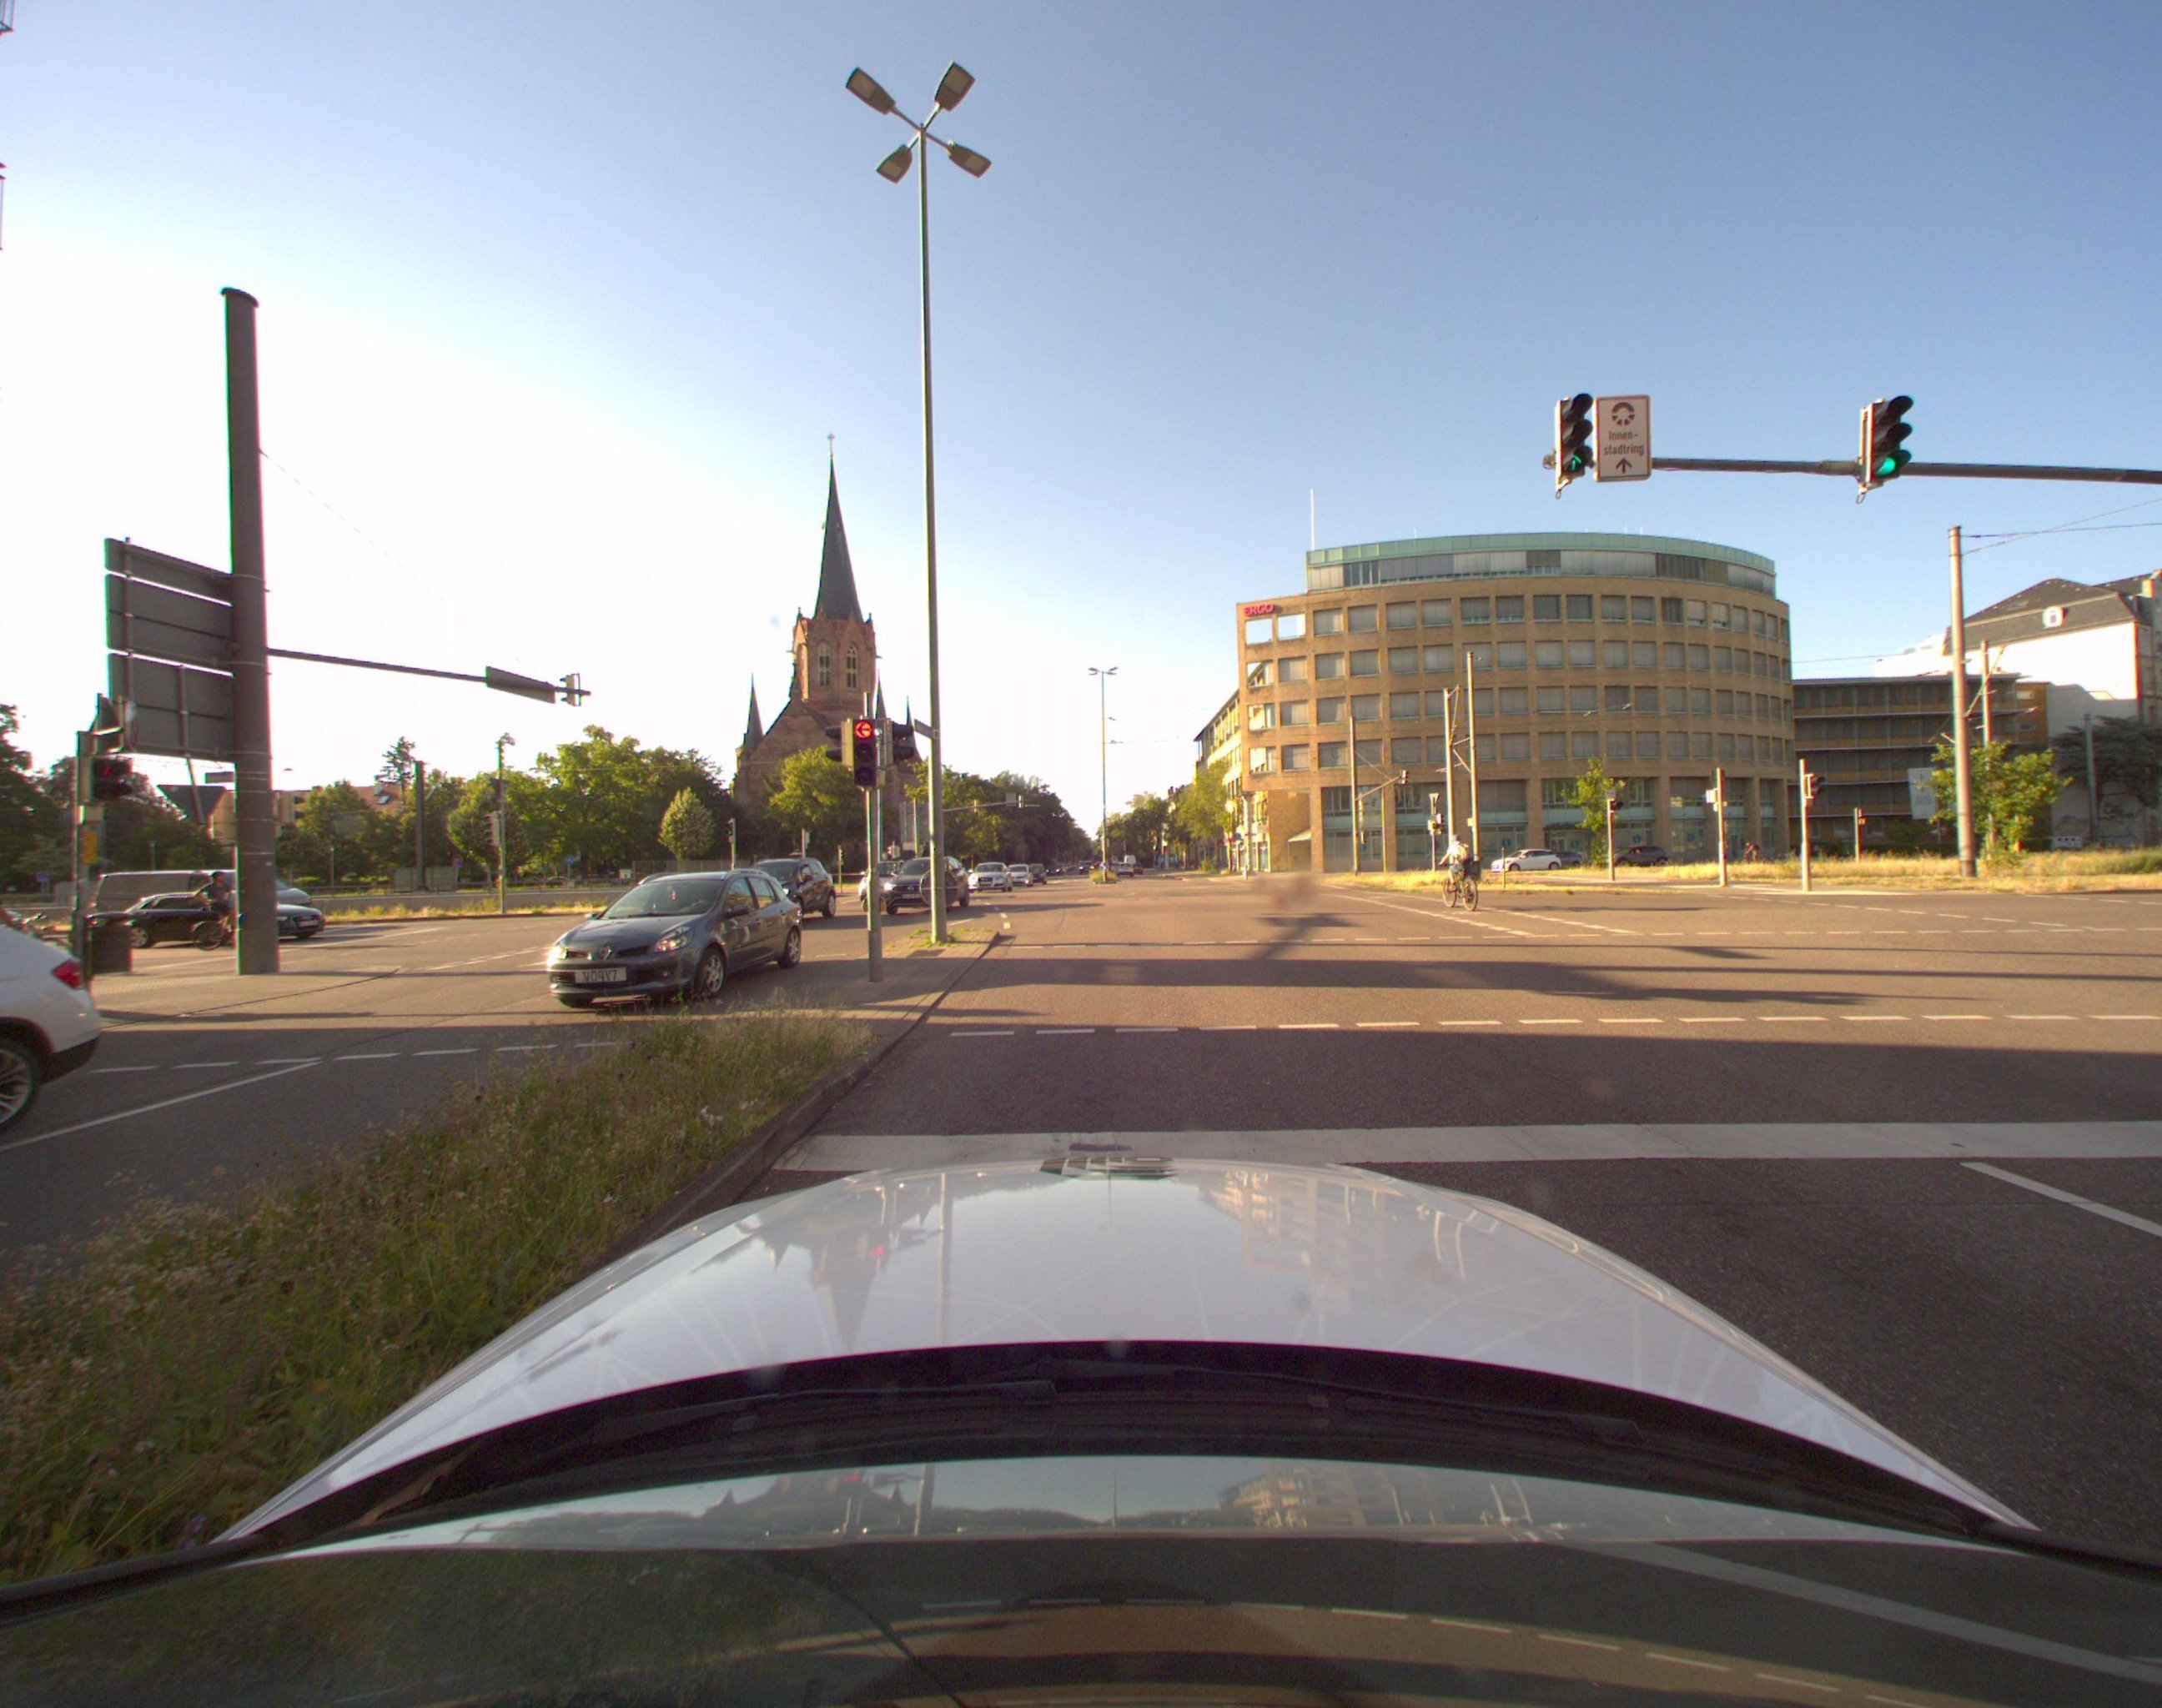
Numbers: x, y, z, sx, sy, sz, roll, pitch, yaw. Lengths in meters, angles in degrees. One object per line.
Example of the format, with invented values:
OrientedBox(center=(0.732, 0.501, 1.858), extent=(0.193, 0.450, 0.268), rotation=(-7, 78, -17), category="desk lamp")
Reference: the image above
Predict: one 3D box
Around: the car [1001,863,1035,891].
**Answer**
OrientedBox(center=(-3.917, 1.403, 51.452), extent=(1.669, 1.544, 3.807), rotation=(-3, 0, 1), category="car")

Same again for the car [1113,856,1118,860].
OrientedBox(center=(10.957, 1.172, 256.097), extent=(1.589, 1.267, 3.268), rotation=(-2, 0, 2), category="car")

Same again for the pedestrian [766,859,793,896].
OrientedBox(center=(-14.367, 1.110, 38.867), extent=(0.962, 1.739, 0.812), rotation=(-1, -1, -1), category="pedestrian")

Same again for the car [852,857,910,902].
OrientedBox(center=(-7.730, 0.945, 31.667), extent=(1.531, 1.593, 2.807), rotation=(-3, 0, -1), category="car")

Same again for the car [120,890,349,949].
OrientedBox(center=(-22.678, 1.738, 21.943), extent=(4.175, 1.313, 1.800), rotation=(-2, -1, -1), category="car")

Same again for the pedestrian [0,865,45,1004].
OrientedBox(center=(-14.304, 1.049, 10.573), extent=(0.605, 1.787, 0.813), rotation=(1, 0, 5), category="pedestrian")

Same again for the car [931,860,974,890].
OrientedBox(center=(-7.203, 1.153, 45.972), extent=(1.669, 1.544, 3.639), rotation=(-3, 0, 1), category="car")

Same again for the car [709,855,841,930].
OrientedBox(center=(-7.663, 0.880, 20.822), extent=(1.714, 1.628, 4.102), rotation=(-3, 0, 0), category="car")

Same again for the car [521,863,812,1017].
OrientedBox(center=(-4.958, 0.909, 10.445), extent=(1.586, 1.471, 3.985), rotation=(-3, 0, 1), category="car")

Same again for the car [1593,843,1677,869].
OrientedBox(center=(35.140, 0.118, 51.732), extent=(4.038, 1.492, 1.820), rotation=(-2, -1, 0), category="car")

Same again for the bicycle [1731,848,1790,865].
OrientedBox(center=(45.300, 0.162, 54.321), extent=(2.951, 1.000, 1.154), rotation=(-2, -1, -1), category="bicycle")

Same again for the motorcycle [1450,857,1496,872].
OrientedBox(center=(27.324, 0.741, 56.775), extent=(2.709, 0.964, 1.032), rotation=(-2, -1, 0), category="motorcycle")

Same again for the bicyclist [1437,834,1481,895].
OrientedBox(center=(8.625, 0.233, 18.621), extent=(0.590, 1.369, 0.930), rotation=(0, 0, 2), category="bicyclist")

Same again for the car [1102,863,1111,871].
OrientedBox(center=(4.849, 2.417, 152.589), extent=(1.589, 1.267, 3.268), rotation=(-2, 0, 2), category="car")

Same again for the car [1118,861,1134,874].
OrientedBox(center=(4.713, 1.410, 85.691), extent=(1.589, 1.267, 3.268), rotation=(-2, 0, 2), category="car")

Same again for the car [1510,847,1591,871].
OrientedBox(center=(32.659, 0.364, 56.763), extent=(4.464, 1.537, 1.987), rotation=(-2, -1, 2), category="car")

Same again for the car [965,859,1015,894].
OrientedBox(center=(-4.270, 1.042, 38.784), extent=(1.702, 1.425, 4.104), rotation=(-3, 0, 1), category="car")

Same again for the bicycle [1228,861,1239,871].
OrientedBox(center=(15.076, 1.165, 80.602), extent=(0.644, 0.994, 2.081), rotation=(-2, -1, 1), category="bicycle")

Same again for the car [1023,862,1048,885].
OrientedBox(center=(-3.395, 1.420, 61.340), extent=(1.572, 1.544, 3.478), rotation=(-3, 0, 1), category="car")

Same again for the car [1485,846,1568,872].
OrientedBox(center=(28.261, 0.313, 51.730), extent=(4.150, 1.492, 1.994), rotation=(-2, -1, -1), category="car")

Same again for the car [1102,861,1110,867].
OrientedBox(center=(5.156, 2.034, 165.032), extent=(1.589, 1.267, 3.268), rotation=(-2, 0, 2), category="car")

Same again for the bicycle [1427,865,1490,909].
OrientedBox(center=(8.636, 0.731, 18.703), extent=(0.590, 0.943, 1.979), rotation=(0, 0, 2), category="bicycle")

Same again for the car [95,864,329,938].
OrientedBox(center=(-26.626, 1.394, 25.090), extent=(4.908, 2.014, 1.999), rotation=(-2, -1, -1), category="car")

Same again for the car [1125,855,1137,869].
OrientedBox(center=(8.945, 1.379, 145.239), extent=(1.986, 2.440, 4.001), rotation=(0, -1, 2), category="car")

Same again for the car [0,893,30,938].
OrientedBox(center=(-35.661, 2.003, 25.182), extent=(3.889, 1.374, 1.800), rotation=(-2, -1, -1), category="car")

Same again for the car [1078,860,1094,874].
OrientedBox(center=(0.705, 1.772, 110.793), extent=(1.987, 1.724, 5.031), rotation=(-2, -1, 1), category="car")

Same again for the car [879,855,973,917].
OrientedBox(center=(-4.418, 0.852, 23.824), extent=(1.668, 1.544, 4.105), rotation=(-3, 0, 3), category="car")

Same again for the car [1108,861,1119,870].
OrientedBox(center=(4.622, 1.634, 115.632), extent=(1.589, 1.267, 3.268), rotation=(-2, 0, 2), category="car")

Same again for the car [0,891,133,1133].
OrientedBox(center=(-7.676, 1.053, 3.702), extent=(1.747, 1.488, 4.246), rotation=(-3, 0, -1), category="car")

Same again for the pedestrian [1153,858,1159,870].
OrientedBox(center=(12.041, 1.609, 131.048), extent=(0.844, 1.803, 0.776), rotation=(-2, 0, 1), category="pedestrian")

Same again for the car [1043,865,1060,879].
OrientedBox(center=(-3.968, 2.385, 109.173), extent=(1.987, 1.724, 4.593), rotation=(-2, -1, 1), category="car")

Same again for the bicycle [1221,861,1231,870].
OrientedBox(center=(15.176, 1.206, 85.255), extent=(0.644, 0.994, 2.081), rotation=(-2, -1, 1), category="bicycle")

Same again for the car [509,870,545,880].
OrientedBox(center=(-91.992, 3.504, 135.305), extent=(4.450, 1.571, 1.993), rotation=(-2, -1, -10), category="car")

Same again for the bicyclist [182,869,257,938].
OrientedBox(center=(-21.091, 1.197, 19.954), extent=(0.733, 1.598, 0.963), rotation=(-3, 0, 1), category="bicyclist")

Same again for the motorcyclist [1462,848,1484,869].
OrientedBox(center=(27.327, 0.312, 56.783), extent=(1.061, 1.435, 1.032), rotation=(-2, -1, 0), category="motorcyclist")

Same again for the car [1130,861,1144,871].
OrientedBox(center=(7.063, 1.495, 102.430), extent=(1.589, 1.267, 3.268), rotation=(-2, 0, 2), category="car")

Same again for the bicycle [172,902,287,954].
OrientedBox(center=(-20.840, 1.801, 19.954), extent=(1.770, 1.097, 0.952), rotation=(-3, 0, 1), category="bicycle")

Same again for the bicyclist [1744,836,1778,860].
OrientedBox(center=(45.331, -0.389, 54.317), extent=(1.219, 1.572, 1.154), rotation=(-2, -1, 0), category="bicyclist")
